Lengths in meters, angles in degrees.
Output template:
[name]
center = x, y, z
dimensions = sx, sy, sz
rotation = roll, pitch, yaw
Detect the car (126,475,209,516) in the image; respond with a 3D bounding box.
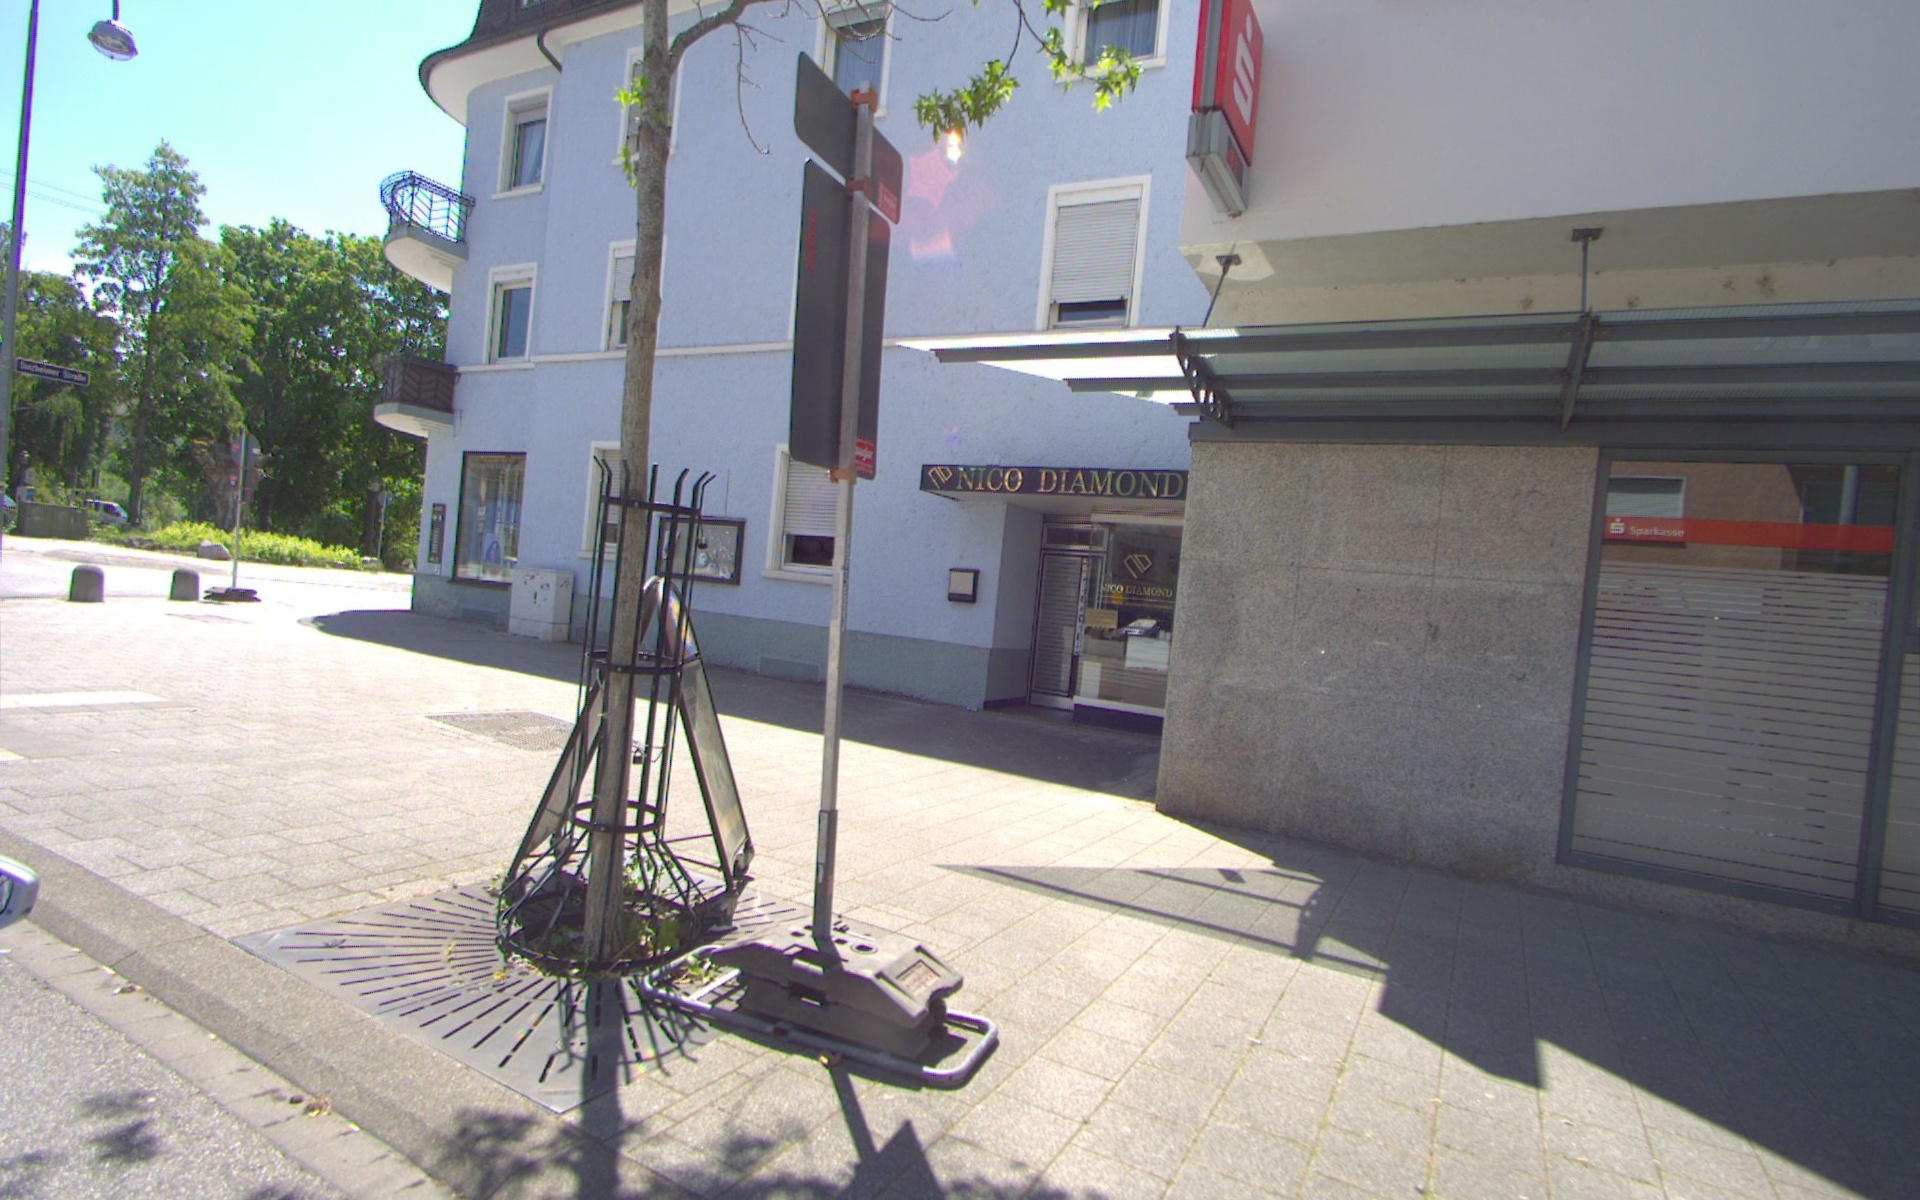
[car]
center = -51.116, -6.726, 65.006
dimensions = 3.962, 2.039, 1.981
rotation = 6, 1, -35
